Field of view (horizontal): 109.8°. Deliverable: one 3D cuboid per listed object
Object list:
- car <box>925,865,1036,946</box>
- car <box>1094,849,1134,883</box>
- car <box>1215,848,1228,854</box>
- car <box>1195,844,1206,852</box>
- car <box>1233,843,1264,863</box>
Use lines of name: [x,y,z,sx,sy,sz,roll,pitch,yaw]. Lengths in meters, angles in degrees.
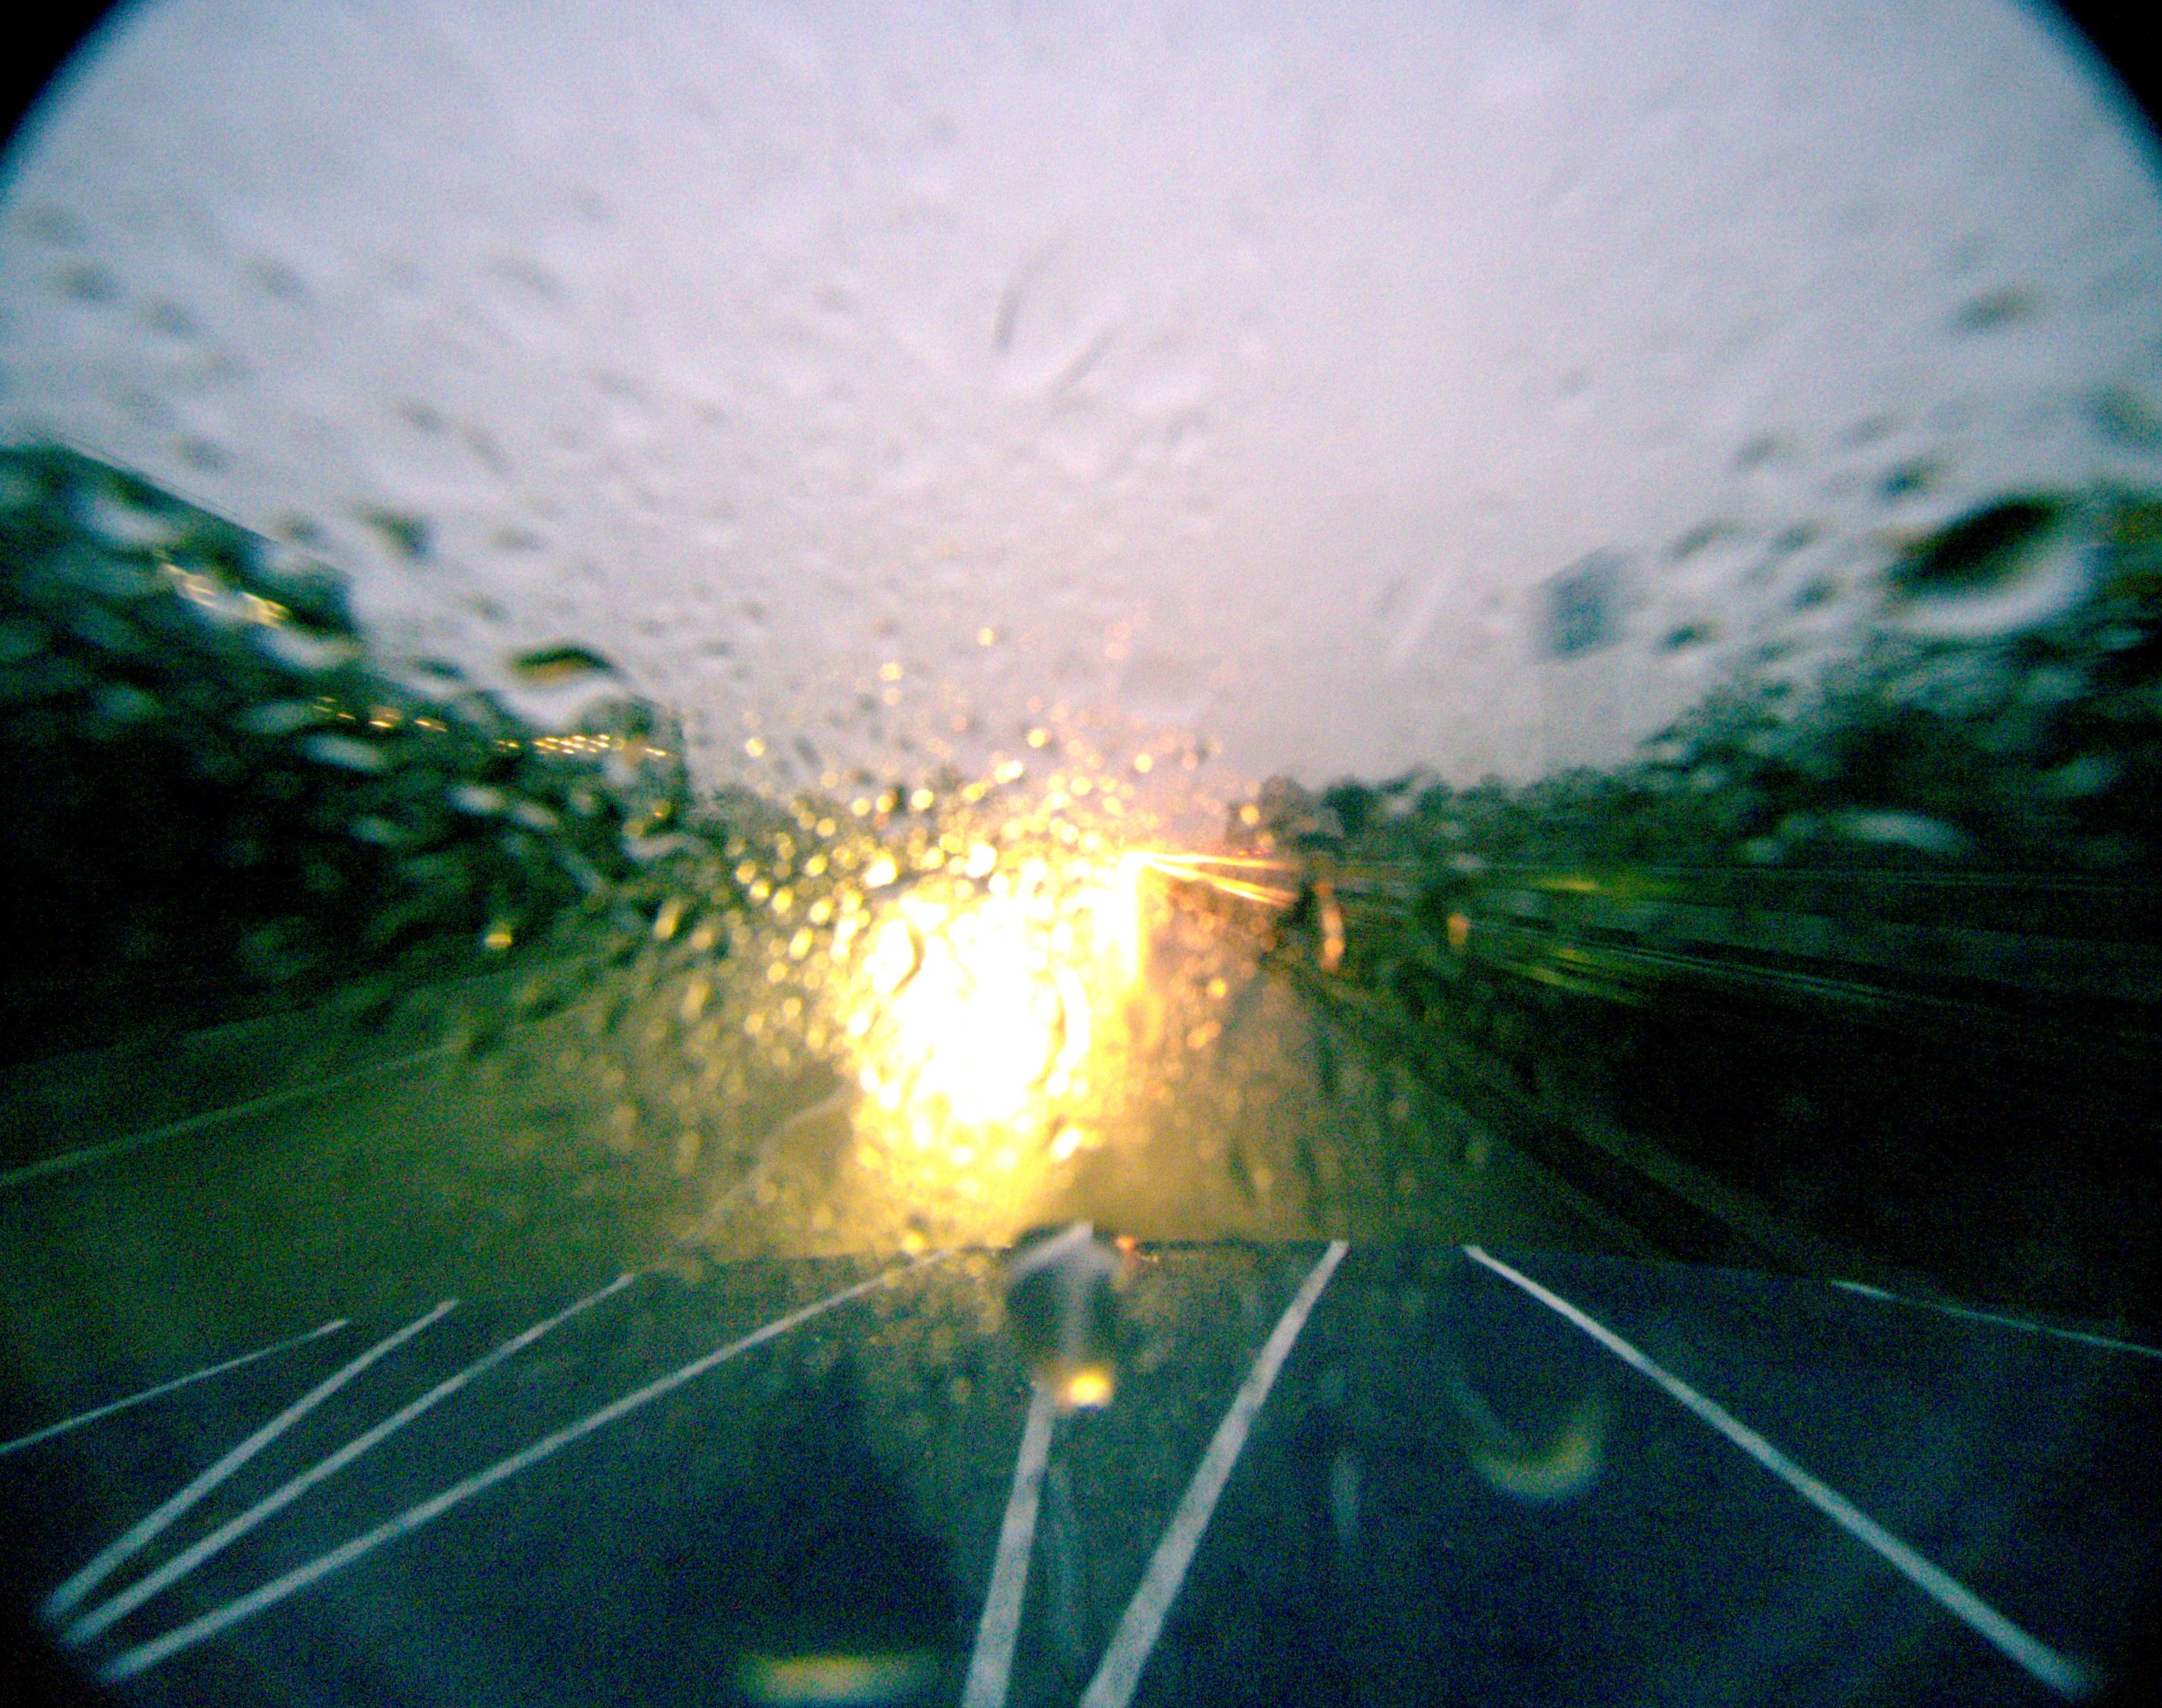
car: [-2.055,1.027,16.684,1.594,1.445,4.177,-2,0,4]
car: [1.705,0.556,37.969,1.758,1.521,4.001,-2,1,5]
car: [29.491,-0.723,159.828,1.801,1.155,3.999,-2,1,-1]
car: [23.008,-1.230,146.844,1.701,1.433,3.682,-2,1,4]
car: [14.507,-0.120,65.925,1.841,1.547,4.355,-2,1,2]
